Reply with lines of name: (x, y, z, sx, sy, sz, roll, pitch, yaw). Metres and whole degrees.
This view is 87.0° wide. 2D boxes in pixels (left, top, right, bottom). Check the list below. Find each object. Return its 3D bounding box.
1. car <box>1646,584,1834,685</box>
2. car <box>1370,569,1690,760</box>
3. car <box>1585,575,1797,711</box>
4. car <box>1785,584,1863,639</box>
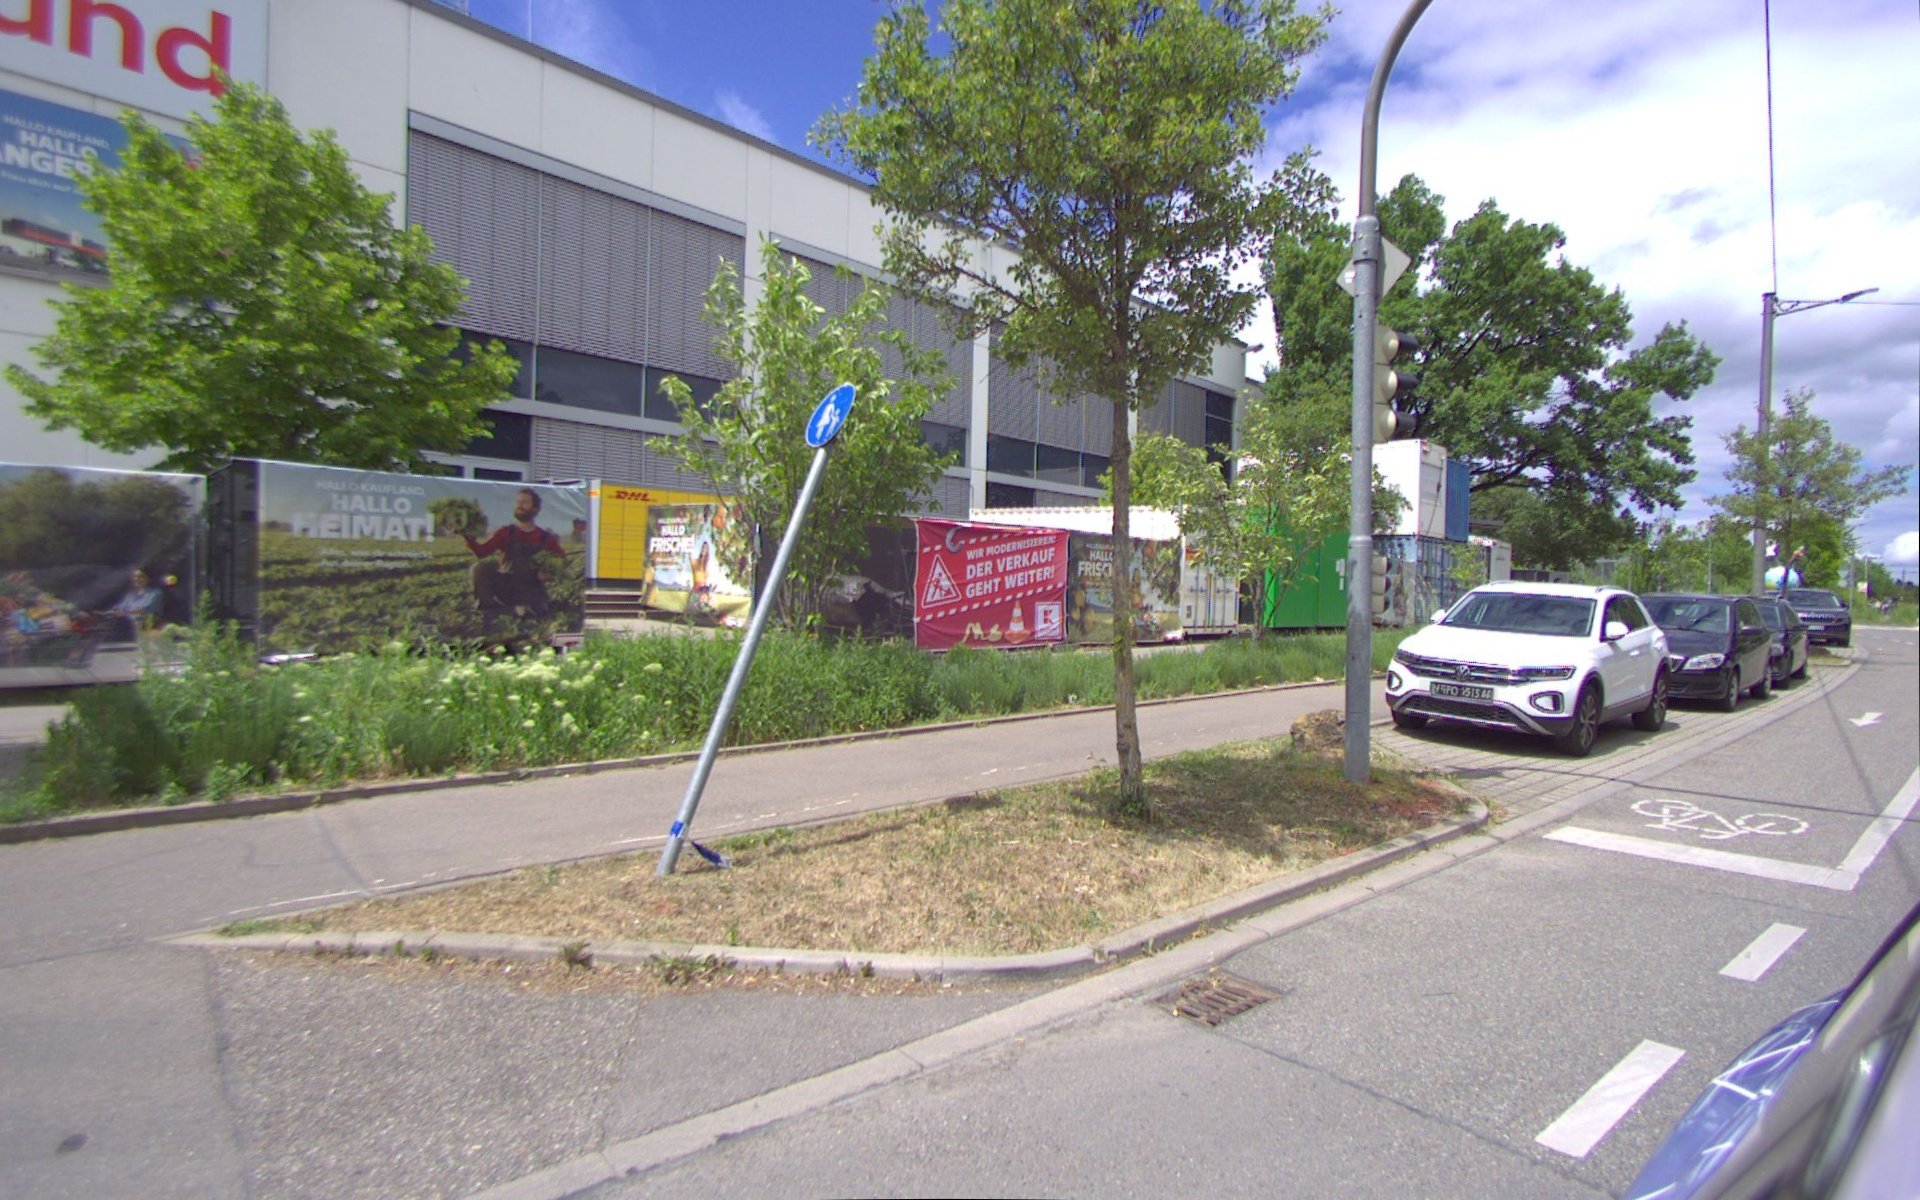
car: (13.497, 0.501, 17.440, 3.746, 1.547, 1.996, -1, 1, -43)
car: (6.066, 0.506, 10.593, 3.855, 1.549, 1.793, -1, 4, -43)
car: (10.289, 0.484, 14.159, 3.726, 1.580, 1.601, -1, 4, -42)
car: (25.965, 0.300, 30.432, 1.699, 1.550, 3.941, 0, 0, 41)
